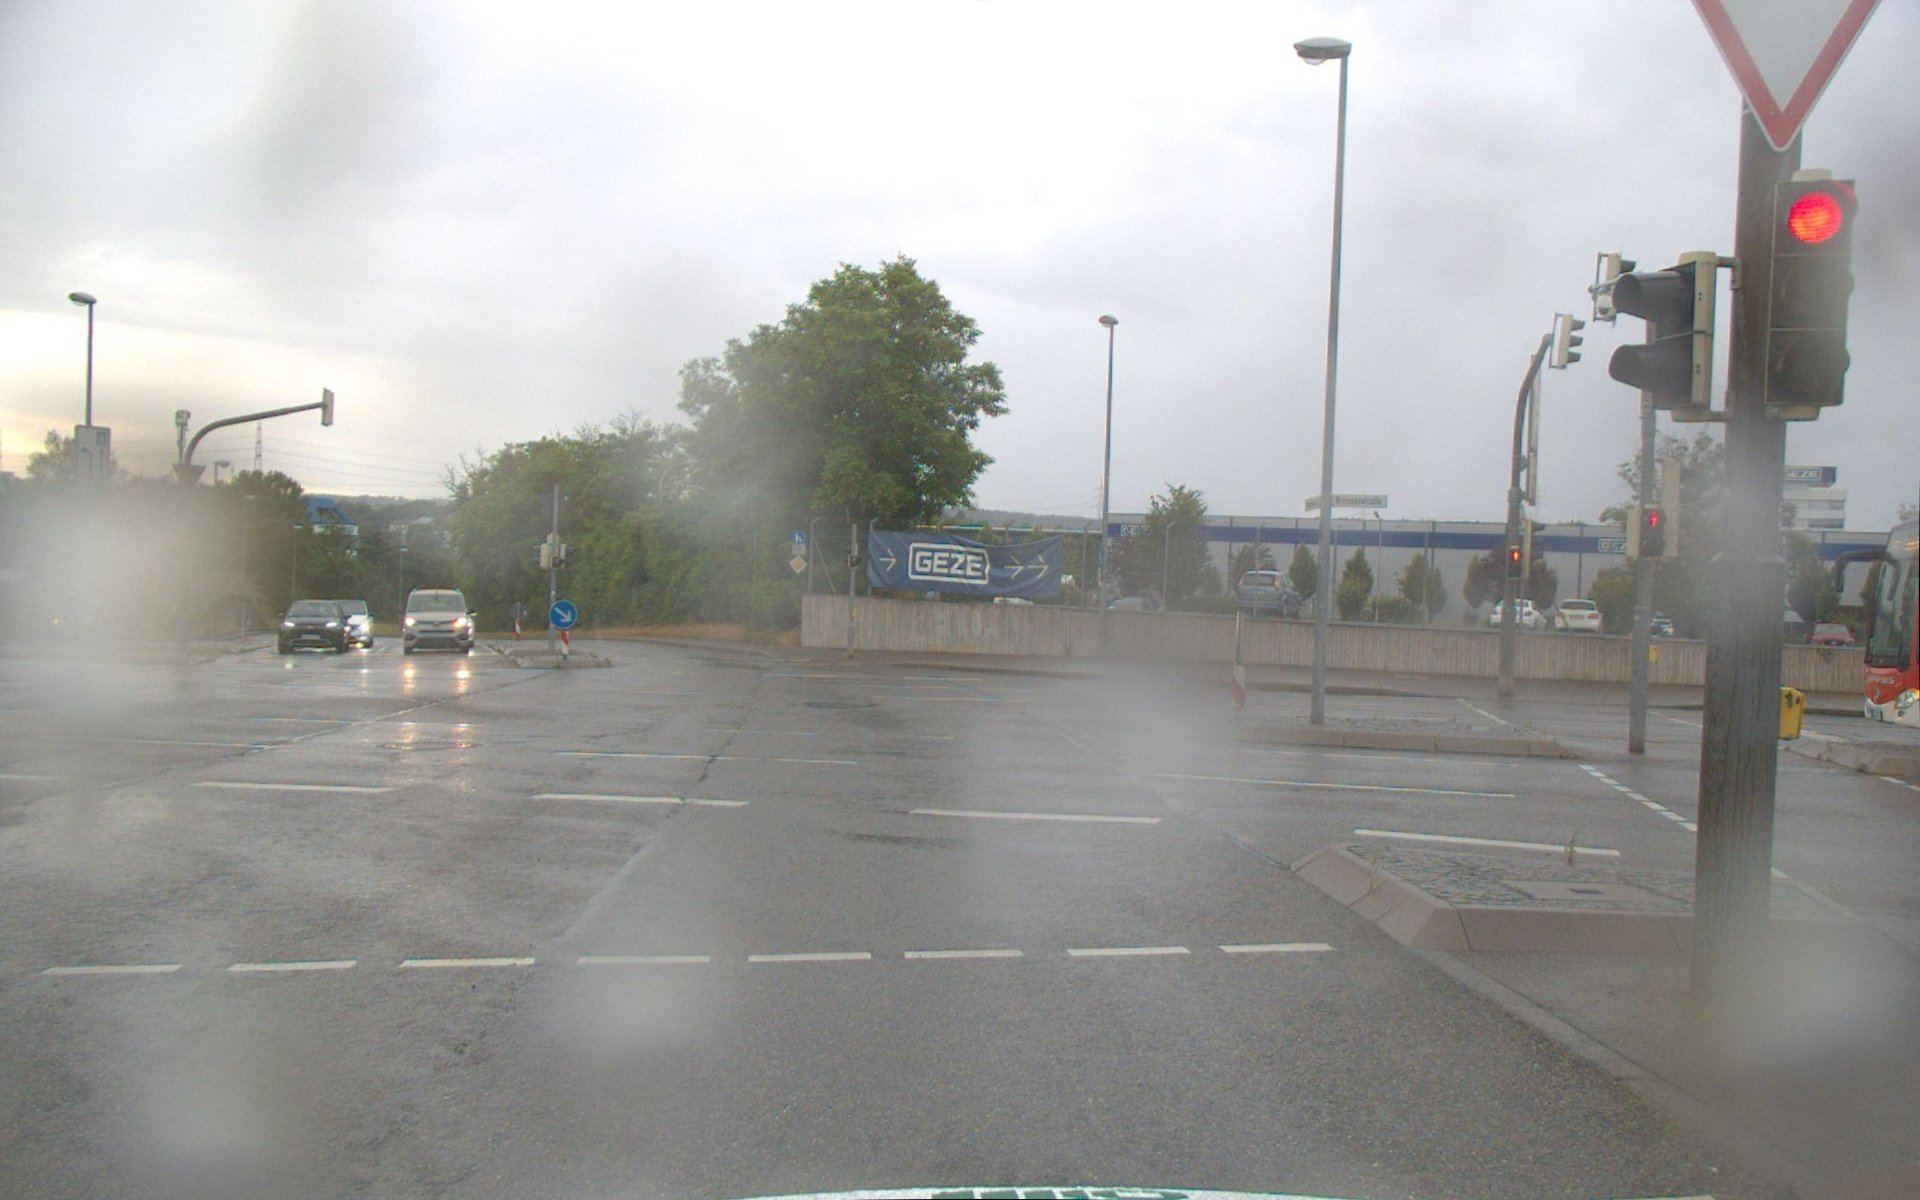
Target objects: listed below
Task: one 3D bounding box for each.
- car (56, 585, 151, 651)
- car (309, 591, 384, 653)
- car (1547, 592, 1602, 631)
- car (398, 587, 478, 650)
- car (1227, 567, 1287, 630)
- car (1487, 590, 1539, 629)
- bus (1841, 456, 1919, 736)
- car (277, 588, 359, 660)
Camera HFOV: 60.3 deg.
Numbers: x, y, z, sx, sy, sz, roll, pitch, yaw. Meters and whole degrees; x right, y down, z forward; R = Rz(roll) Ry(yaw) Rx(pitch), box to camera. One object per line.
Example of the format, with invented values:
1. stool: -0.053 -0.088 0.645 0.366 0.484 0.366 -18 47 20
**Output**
1. car: -27.150 0.539 52.547 1.962 1.928 3.981 1 0 -18
2. car: -20.378 0.703 55.070 1.961 1.928 3.983 1 0 -16
3. car: 25.261 0.462 68.063 1.952 1.504 4.001 2 1 19
4. car: -14.901 0.495 47.347 1.961 1.646 3.984 1 1 -15
5. car: 10.397 -0.058 57.848 1.951 2.049 4.003 1 0 11
6. car: 22.965 0.393 68.652 1.952 1.504 4.001 2 1 19
7. bus: 17.665 0.216 19.851 12.019 3.379 3.076 3 1 17
8. car: -18.562 0.652 47.945 1.963 1.928 3.979 1 1 -19
